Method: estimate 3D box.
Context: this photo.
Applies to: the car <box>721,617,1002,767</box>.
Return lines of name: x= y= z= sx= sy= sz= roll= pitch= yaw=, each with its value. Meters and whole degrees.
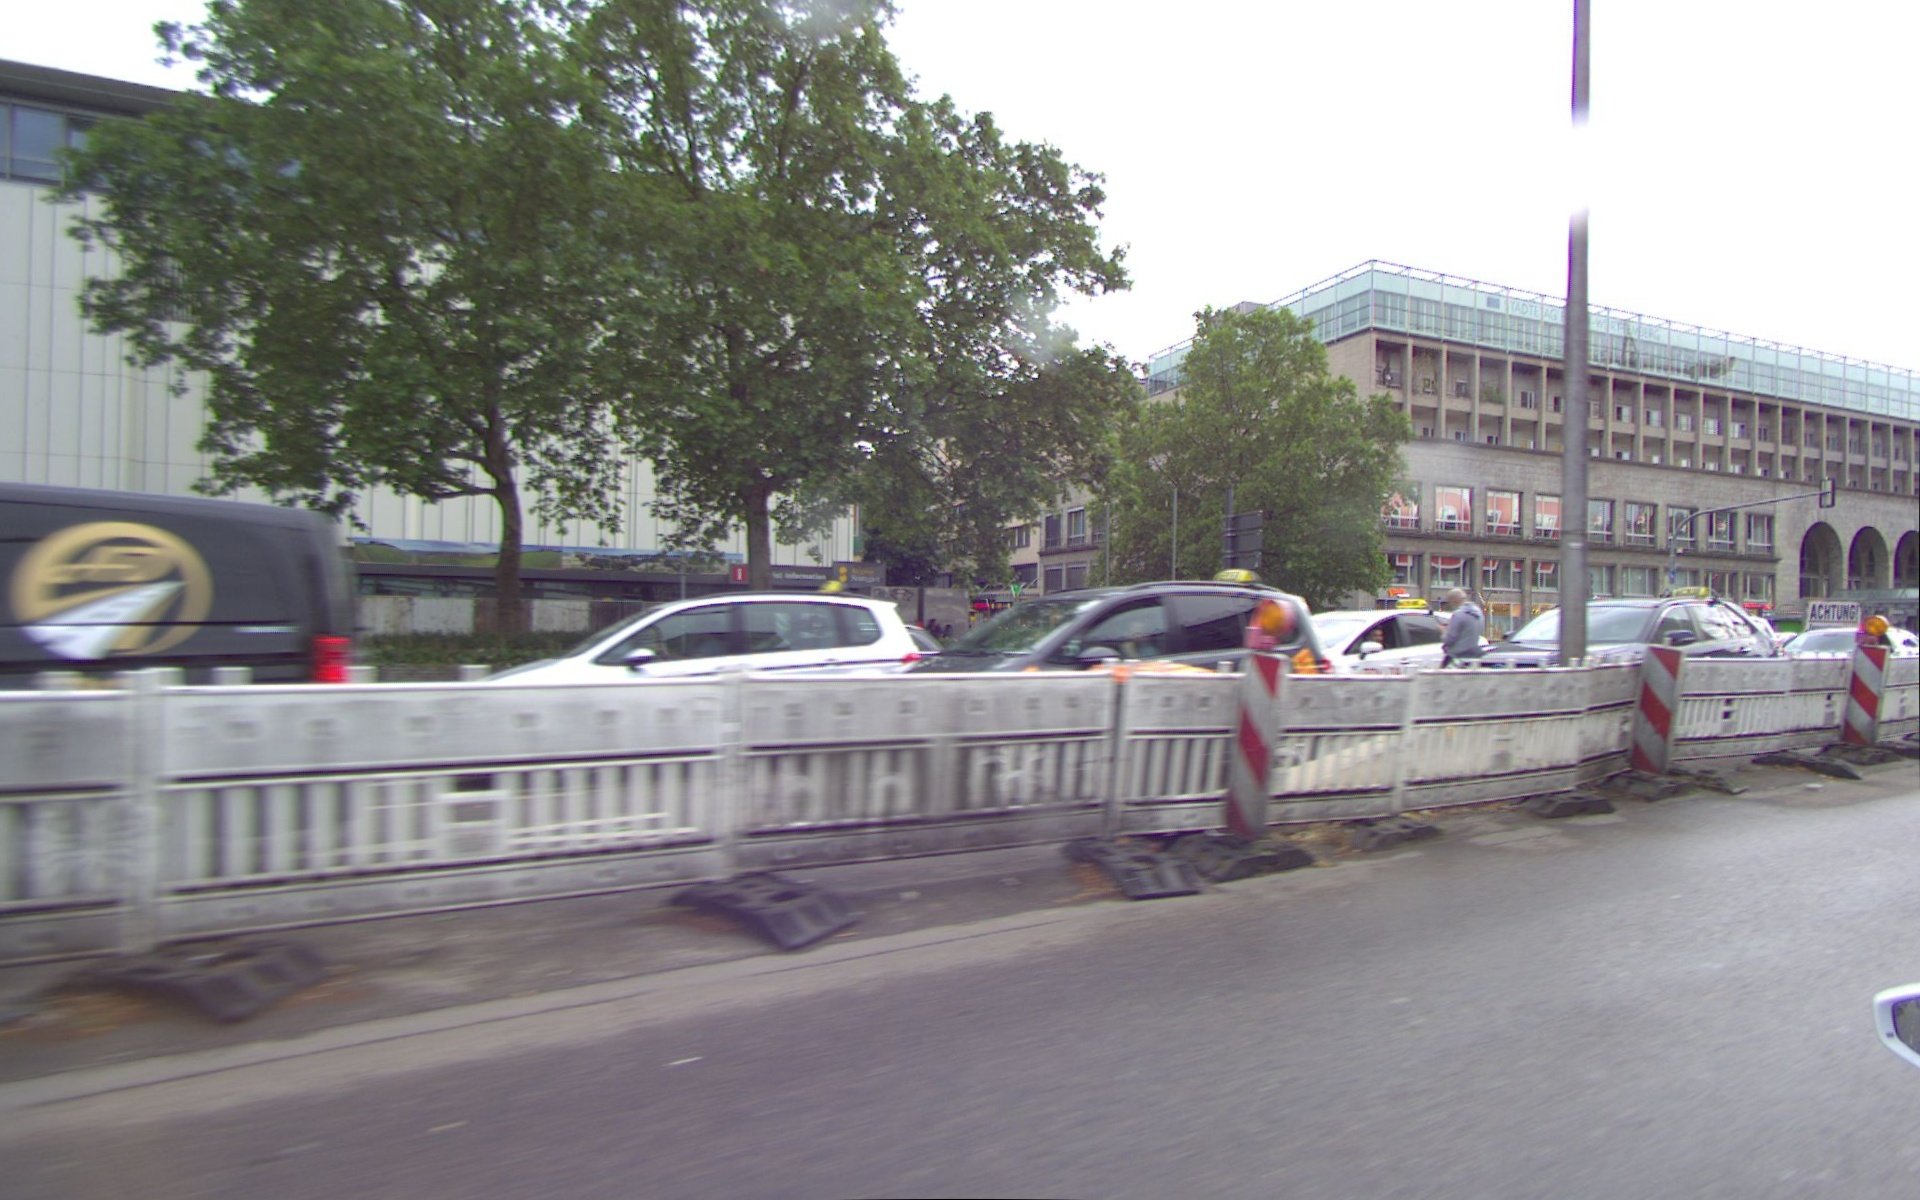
car: x=-1.541 y=1.316 z=15.877 sx=3.952 sy=2.041 sz=1.984 roll=1 pitch=1 yaw=-30

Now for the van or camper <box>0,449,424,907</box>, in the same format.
van or camper: x=-5.353 y=0.332 z=4.256 sx=5.332 sy=1.843 sz=1.935 roll=1 pitch=-3 yaw=-32

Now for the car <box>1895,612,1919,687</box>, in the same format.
car: x=24.287 y=1.180 z=23.656 sx=4.442 sy=1.722 sz=1.896 roll=1 pitch=1 yaw=-27

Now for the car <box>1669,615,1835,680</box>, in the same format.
car: x=19.930 y=1.152 z=25.252 sx=3.954 sy=1.461 sz=1.984 roll=1 pitch=0 yaw=-31

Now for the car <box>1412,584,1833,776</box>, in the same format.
car: x=7.698 y=0.803 z=11.612 sx=4.748 sy=1.841 sz=1.987 roll=0 pitch=-1 yaw=-27

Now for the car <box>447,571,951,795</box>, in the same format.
car: x=-2.448 y=0.649 z=9.614 sx=4.367 sy=1.725 sz=1.882 roll=1 pitch=1 yaw=-28

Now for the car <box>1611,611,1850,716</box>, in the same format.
car: x=14.231 y=1.089 z=18.517 sx=4.425 sy=1.745 sz=1.777 roll=0 pitch=-1 yaw=-27

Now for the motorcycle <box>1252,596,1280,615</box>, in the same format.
motorcycle: x=17.688 y=0.332 z=58.020 sx=1.695 sy=1.061 sz=0.528 roll=1 pitch=-1 yaw=-28

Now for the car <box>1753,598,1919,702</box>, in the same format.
car: x=18.584 y=0.947 z=20.644 sx=4.464 sy=1.923 sz=1.896 roll=1 pitch=1 yaw=-27

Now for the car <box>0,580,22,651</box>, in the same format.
car: x=-22.344 y=0.310 z=20.894 sx=1.815 sy=1.563 sz=3.747 roll=1 pitch=0 yaw=13

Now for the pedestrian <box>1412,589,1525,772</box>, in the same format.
pedestrian: x=5.956 y=0.905 z=11.773 sx=0.812 sy=2.040 sz=0.871 roll=1 pitch=0 yaw=-30

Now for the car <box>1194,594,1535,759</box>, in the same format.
car: x=5.726 y=0.956 z=14.152 sx=4.509 sy=1.876 sz=1.906 roll=1 pitch=5 yaw=-28

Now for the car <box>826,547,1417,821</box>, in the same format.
car: x=1.430 y=0.582 z=8.554 sx=4.748 sy=1.794 sz=1.986 roll=0 pitch=-1 yaw=-27

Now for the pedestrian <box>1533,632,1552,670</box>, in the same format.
pedestrian: x=25.776 y=2.277 z=44.449 sx=0.606 sy=1.663 sz=0.523 roll=2 pitch=-4 yaw=-44
